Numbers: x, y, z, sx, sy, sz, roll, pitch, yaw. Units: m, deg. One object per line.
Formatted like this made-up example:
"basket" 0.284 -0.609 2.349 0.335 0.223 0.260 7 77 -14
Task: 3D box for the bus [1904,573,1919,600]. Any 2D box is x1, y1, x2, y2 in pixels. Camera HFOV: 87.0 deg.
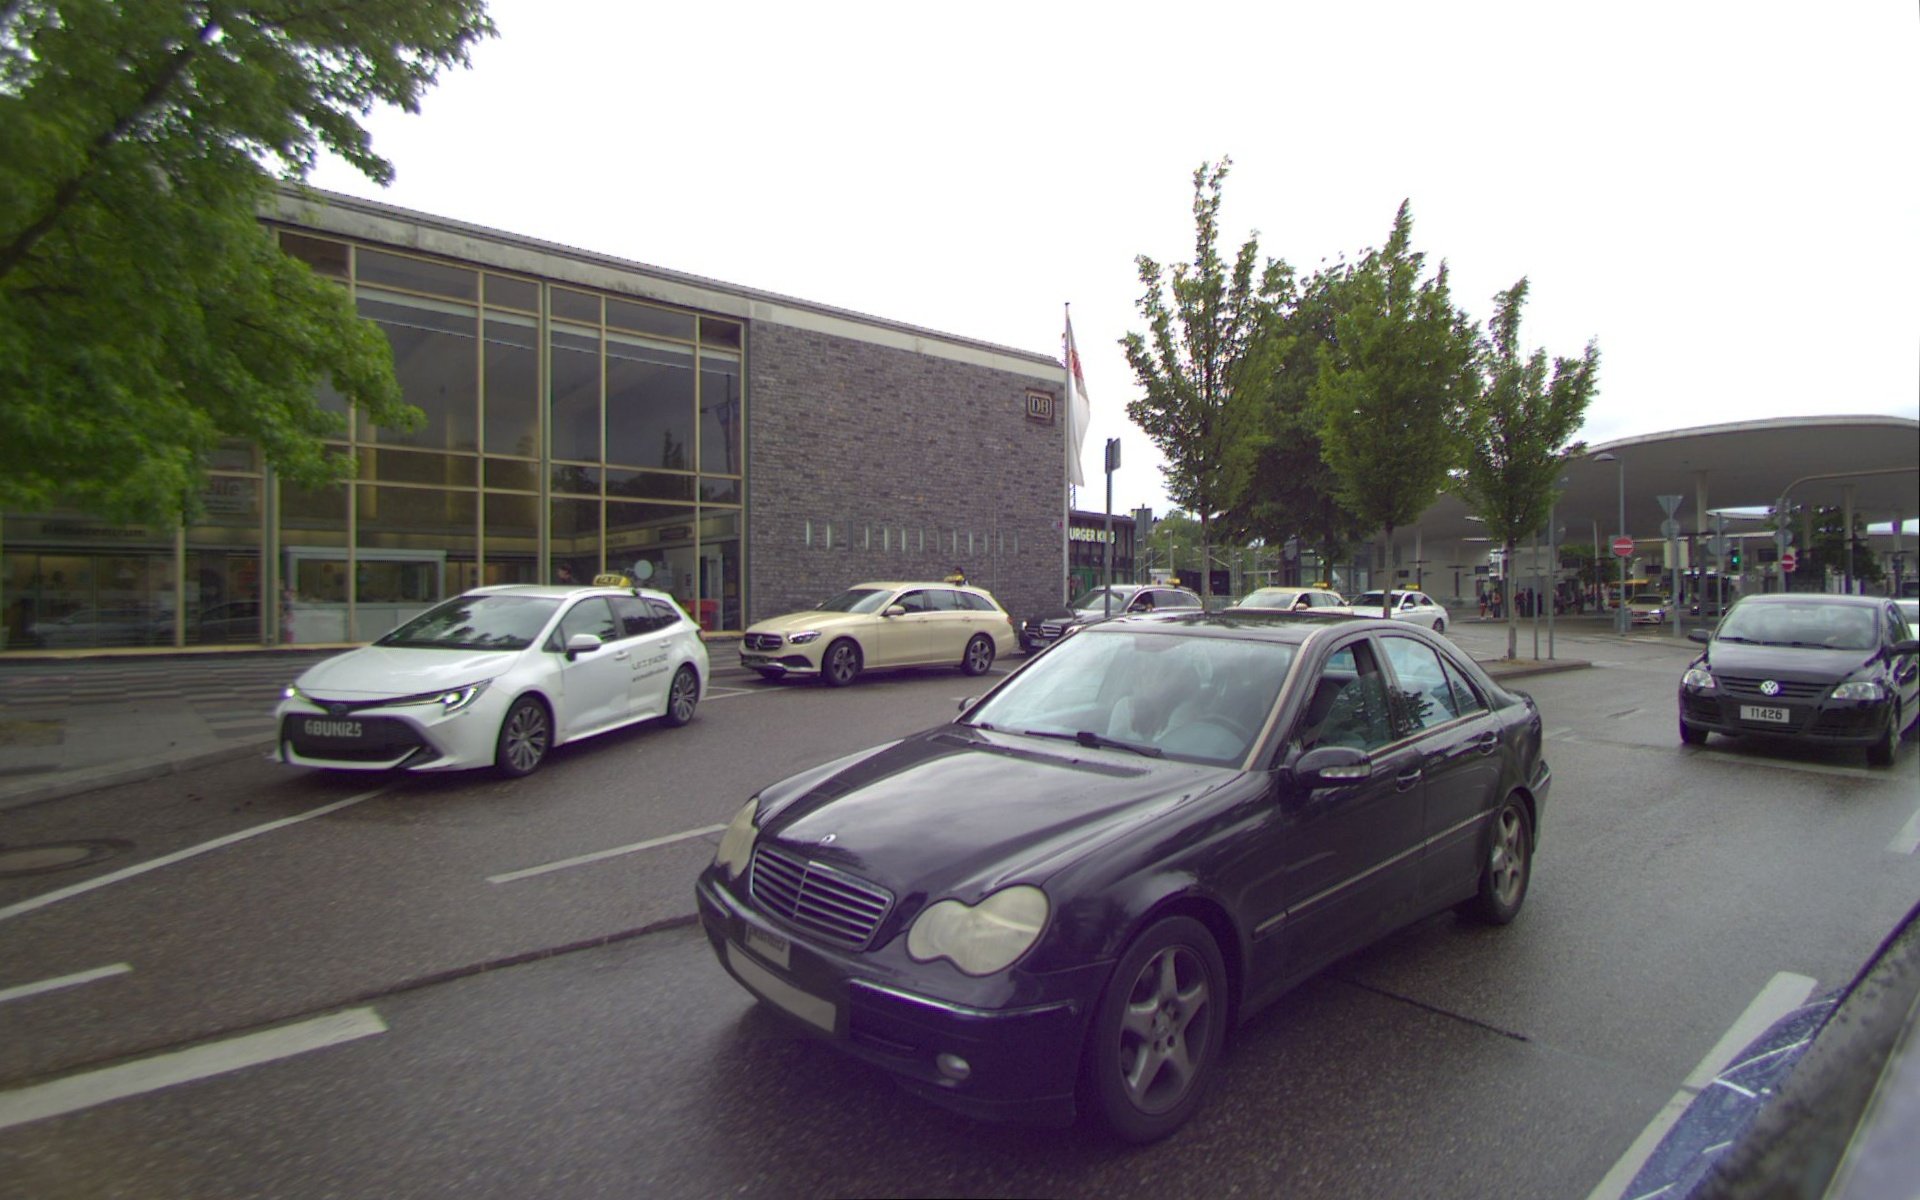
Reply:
"bus" 116.064 -1.615 121.425 3.570 3.137 10.597 2 2 40

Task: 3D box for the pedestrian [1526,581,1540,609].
"pedestrian" 32.183 -0.270 56.864 0.470 1.533 0.535 0 1 -36

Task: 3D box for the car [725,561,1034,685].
"car" -1.109 0.268 16.114 1.993 1.619 4.884 3 2 41

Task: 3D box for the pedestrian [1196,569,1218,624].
"pedestrian" 9.980 -0.146 40.893 0.787 2.191 0.718 2 2 19

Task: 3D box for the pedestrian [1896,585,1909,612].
"pedestrian" 62.849 -0.102 67.466 0.442 1.786 0.532 1 1 27

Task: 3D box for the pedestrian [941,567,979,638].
"pedestrian" 0.003 0.047 24.687 0.640 1.688 0.770 2 1 28

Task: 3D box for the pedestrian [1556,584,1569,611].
"pedestrian" 35.494 -0.152 59.590 0.525 1.533 0.479 0 1 -37

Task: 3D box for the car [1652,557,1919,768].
"car" 8.842 0.473 10.494 4.088 1.722 1.873 -1 3 -43

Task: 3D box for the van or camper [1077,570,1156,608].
"van or camper" 10.645 -0.760 68.505 5.762 2.463 1.998 -1 3 -41

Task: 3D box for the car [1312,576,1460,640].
"car" 12.085 0.163 28.567 4.816 1.619 1.884 -1 3 -40

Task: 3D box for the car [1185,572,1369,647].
"car" 7.871 0.190 24.868 4.871 1.619 1.998 0 2 -40

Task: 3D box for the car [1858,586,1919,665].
"car" 21.038 0.507 21.932 3.979 1.578 1.810 -1 3 -41

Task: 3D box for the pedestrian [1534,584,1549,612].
"pedestrian" 32.066 -0.108 55.830 0.470 1.533 0.535 0 1 -36

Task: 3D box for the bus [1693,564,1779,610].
"bus" 60.481 -0.944 78.727 11.710 3.120 2.875 2 1 -41

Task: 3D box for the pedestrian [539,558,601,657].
"pedestrian" -6.729 0.110 17.487 0.710 1.646 0.796 1 2 5

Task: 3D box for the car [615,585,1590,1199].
"car" 1.023 0.713 4.236 4.378 1.483 1.696 -1 3 -44

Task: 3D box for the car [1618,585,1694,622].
"car" 34.647 0.121 50.325 4.462 1.702 1.998 -1 3 -41

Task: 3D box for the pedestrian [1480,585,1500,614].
"pedestrian" 29.869 -0.050 57.057 0.725 1.614 0.643 0 2 -26

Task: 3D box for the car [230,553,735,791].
"car" -3.785 0.397 9.175 1.735 1.565 4.764 1 2 10

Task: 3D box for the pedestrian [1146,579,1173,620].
"pedestrian" 7.982 -0.046 40.402 0.699 1.599 0.769 0 2 -44

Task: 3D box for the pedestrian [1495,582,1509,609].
"pedestrian" 31.417 -0.263 58.705 0.469 1.533 0.536 1 1 -6

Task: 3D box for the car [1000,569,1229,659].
"car" 3.255 0.235 20.640 4.873 1.619 1.996 0 1 -42

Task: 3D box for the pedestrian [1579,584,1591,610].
"pedestrian" 38.391 -0.192 62.166 0.525 1.533 0.479 0 1 -37
